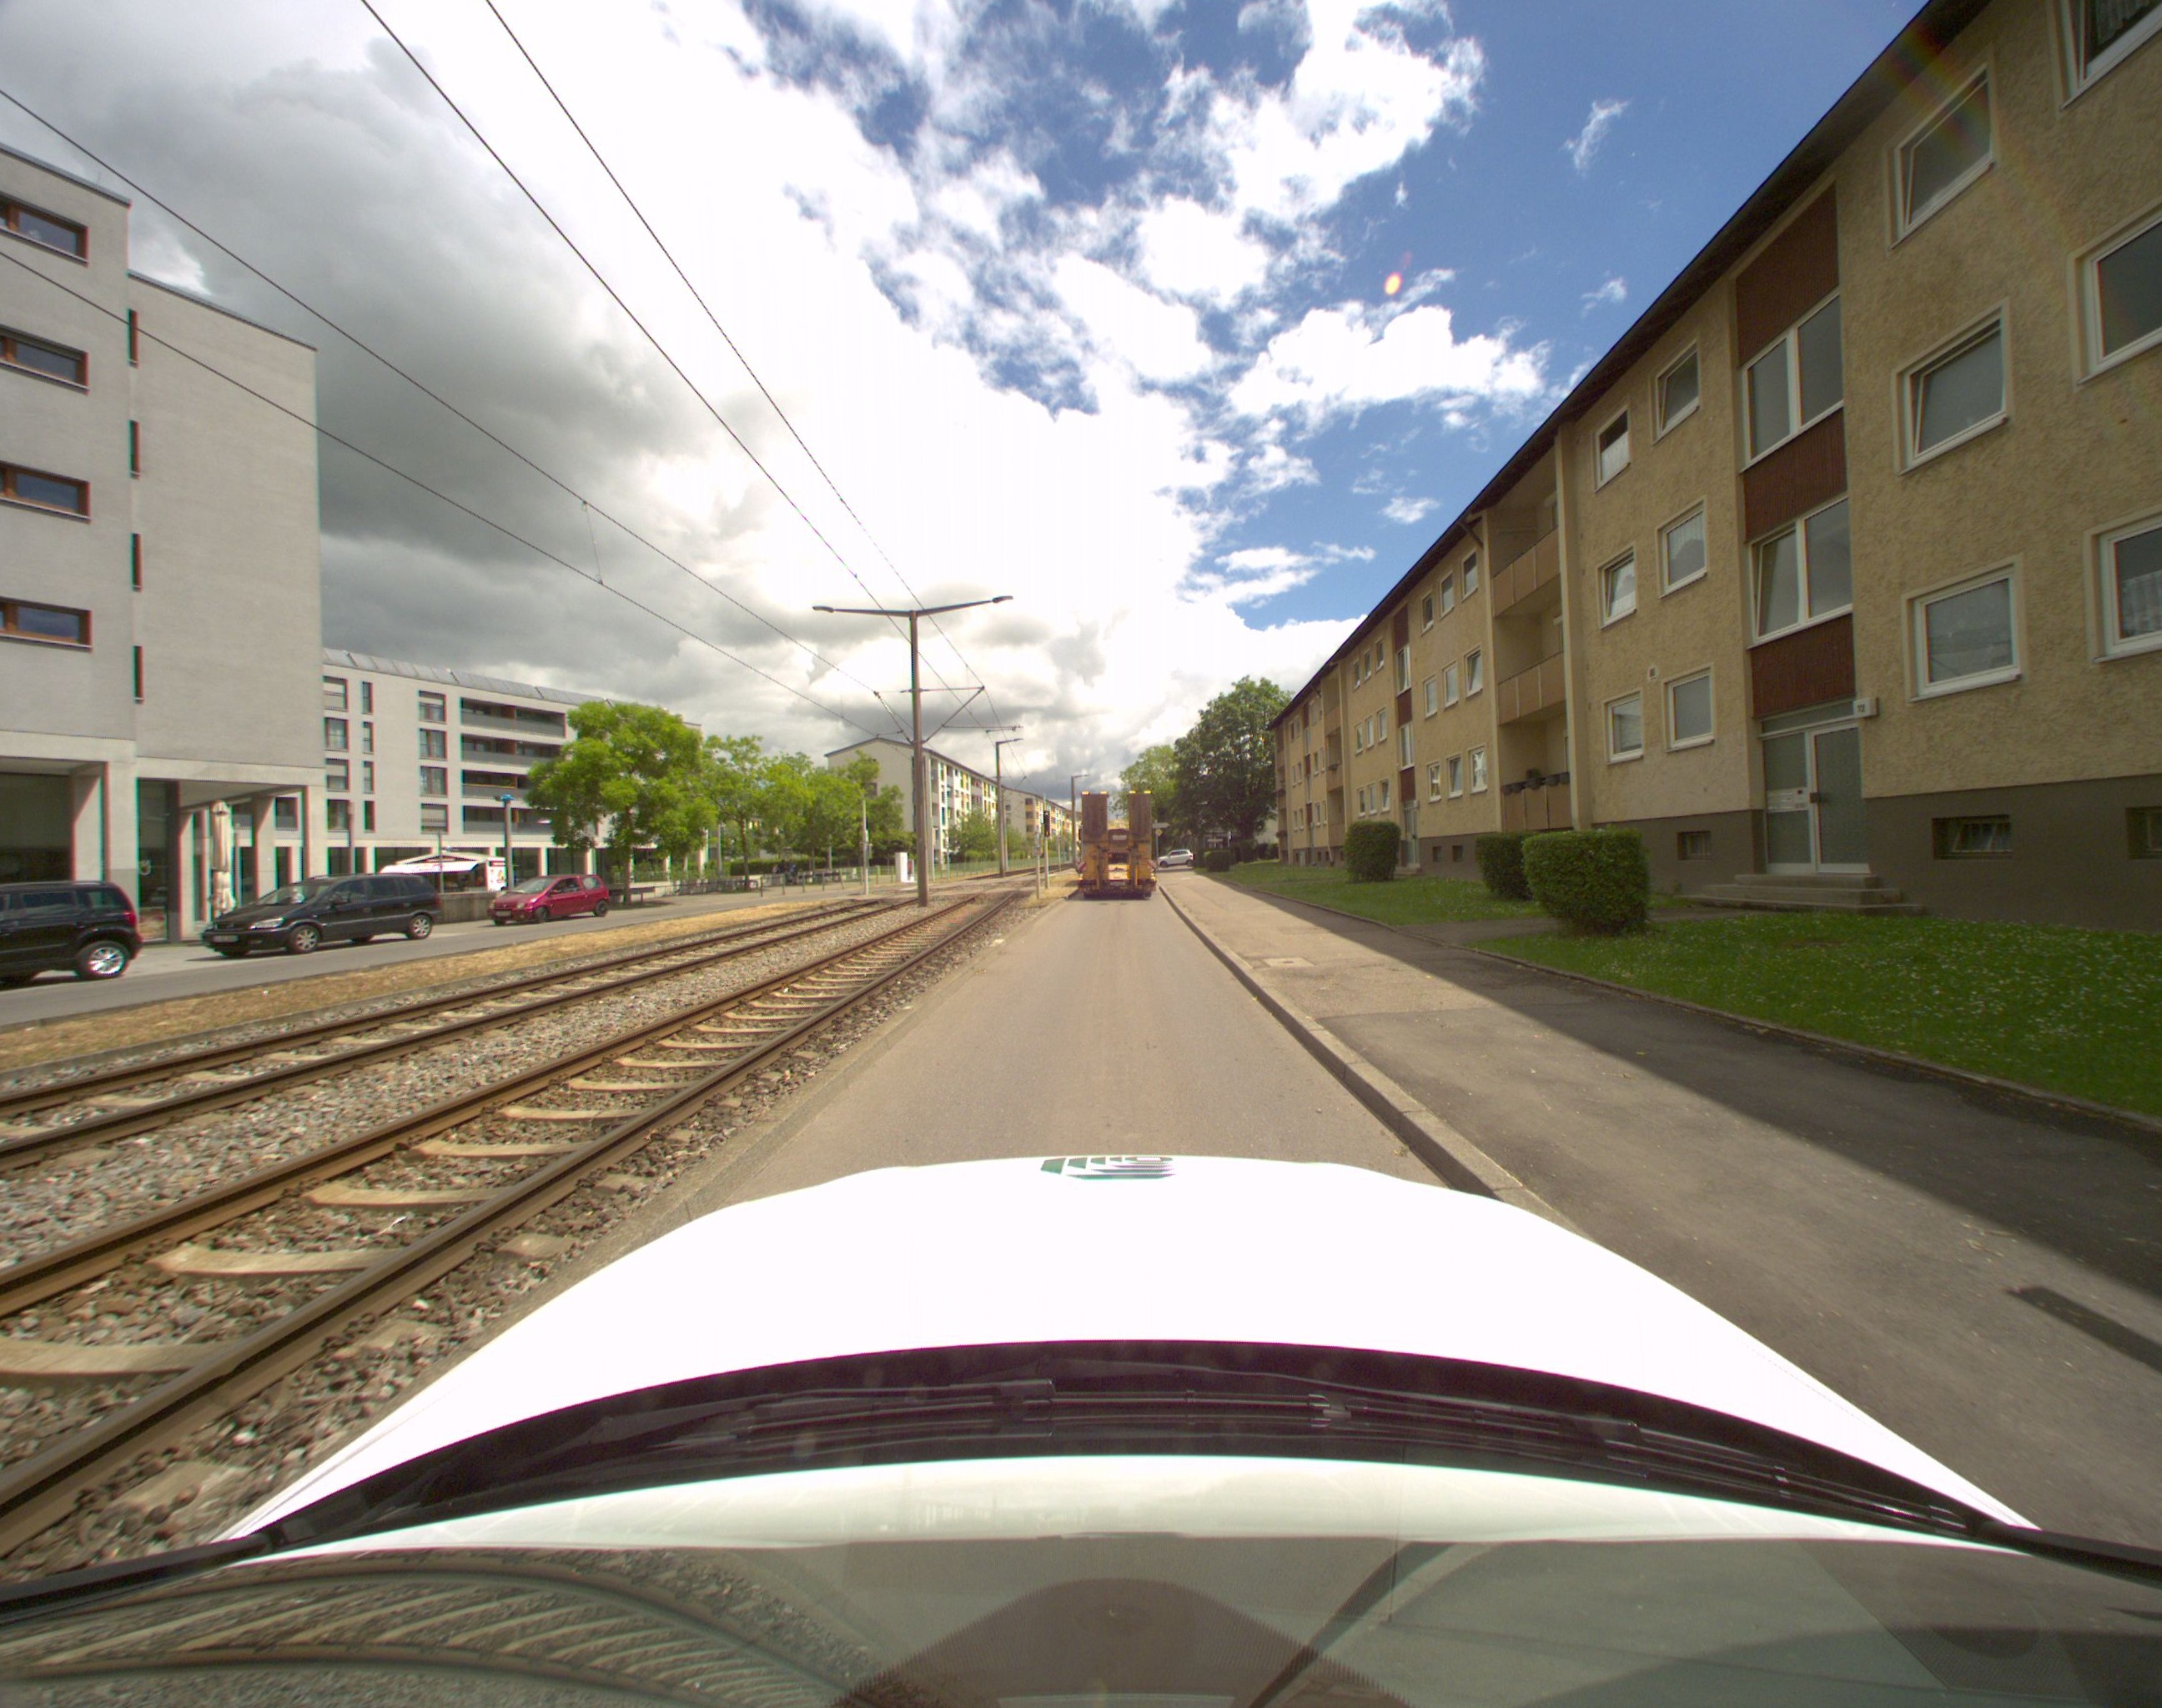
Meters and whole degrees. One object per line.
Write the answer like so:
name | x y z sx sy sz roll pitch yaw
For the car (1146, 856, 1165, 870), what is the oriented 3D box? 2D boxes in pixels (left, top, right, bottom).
car | 8.570 0.986 94.033 1.985 1.387 4.004 -3 1 3

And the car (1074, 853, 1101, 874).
car | 0.586 0.840 70.820 1.793 1.652 4.138 -3 -1 6

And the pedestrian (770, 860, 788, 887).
pedestrian | -17.892 1.154 48.232 0.618 1.573 0.701 -3 0 14

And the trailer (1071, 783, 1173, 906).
trailer | 1.420 -0.384 31.761 3.040 3.772 11.615 -3 1 1

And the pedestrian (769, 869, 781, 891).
pedestrian | -21.364 1.811 56.861 0.539 1.547 0.532 -3 1 24

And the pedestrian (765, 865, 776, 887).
pedestrian | -18.032 1.273 47.266 0.501 1.266 0.496 -4 0 -20

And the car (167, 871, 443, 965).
car | -17.221 1.335 18.425 1.983 1.648 4.107 -3 1 6

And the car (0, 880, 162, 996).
car | -17.436 1.350 12.460 1.986 1.662 4.101 -2 1 1

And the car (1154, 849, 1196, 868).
car | 8.661 0.421 74.907 3.571 1.584 2.008 -3 -1 15

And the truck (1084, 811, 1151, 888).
truck | 1.738 -0.278 40.918 2.824 3.330 7.986 -3 1 1

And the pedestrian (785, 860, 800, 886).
pedestrian | -17.705 1.166 49.993 0.619 1.573 0.559 -3 0 9

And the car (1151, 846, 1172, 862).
car | 8.767 0.007 88.958 1.985 1.618 4.004 -3 1 3

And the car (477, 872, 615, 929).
car | -16.524 1.387 25.362 1.603 1.426 3.432 -3 1 10

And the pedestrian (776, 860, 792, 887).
pedestrian | -17.873 1.144 49.032 0.618 1.573 0.560 -3 0 14
